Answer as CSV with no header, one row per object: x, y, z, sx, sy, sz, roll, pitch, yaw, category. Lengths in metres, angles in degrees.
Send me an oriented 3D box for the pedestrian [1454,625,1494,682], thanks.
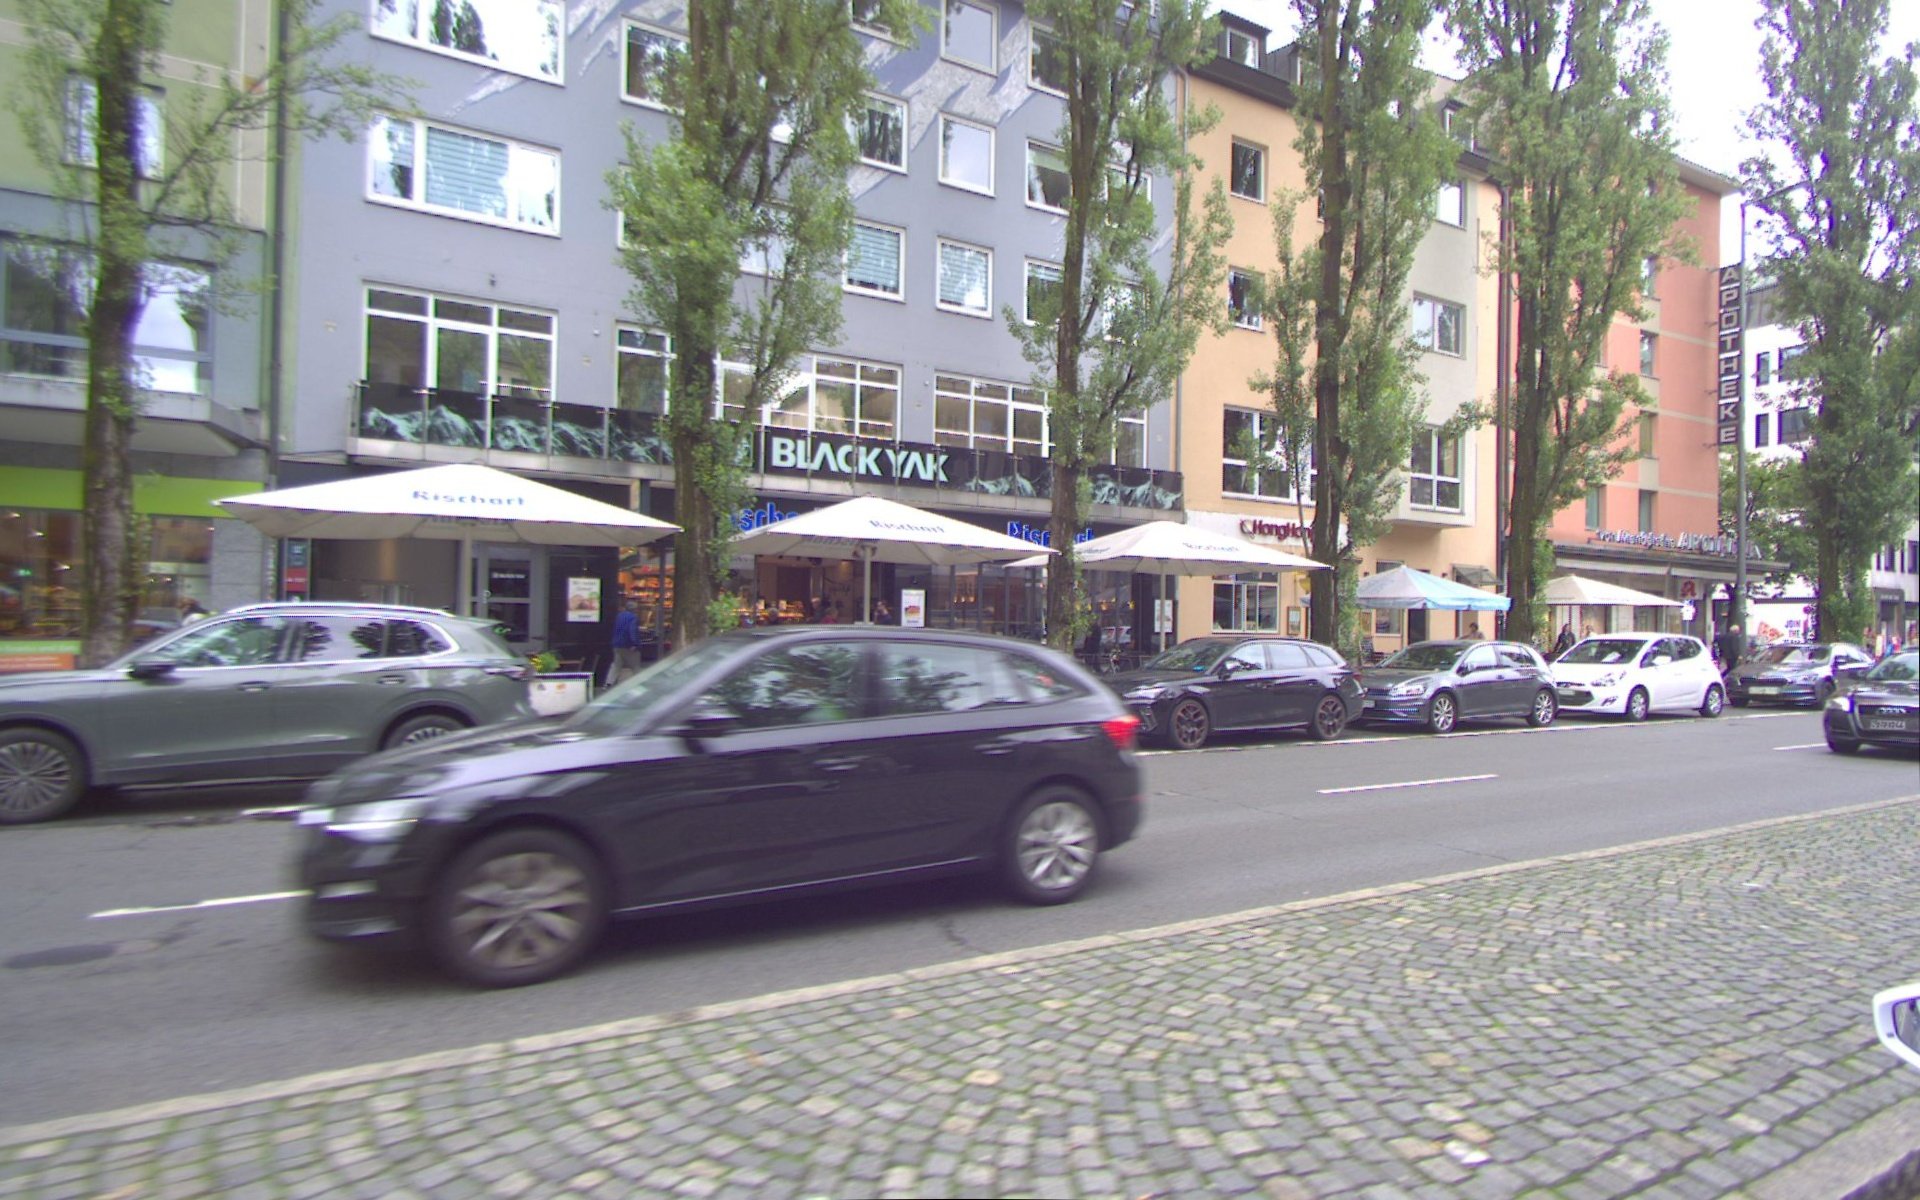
15.573,1.599,30.460,0.792,1.690,0.777,1,-1,-29,pedestrian

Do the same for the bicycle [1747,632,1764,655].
41.839,2.286,52.829,0.445,1.199,2.050,0,-2,45,bicycle

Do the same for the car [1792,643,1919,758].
13.103,1.264,13.291,4.125,1.379,1.829,1,-3,-29,car

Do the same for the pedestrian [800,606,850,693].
-2.606,0.941,19.395,0.746,1.623,0.738,1,-1,-27,pedestrian

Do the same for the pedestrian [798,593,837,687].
-3.488,0.958,24.495,0.684,2.241,0.777,1,-1,-29,pedestrian

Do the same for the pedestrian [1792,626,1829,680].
28.613,1.781,33.796,0.768,1.794,0.721,1,-1,-28,pedestrian

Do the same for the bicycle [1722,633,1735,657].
39.745,2.299,51.931,0.410,1.199,1.998,0,-1,41,bicycle

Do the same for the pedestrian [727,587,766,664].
-5.160,0.613,24.301,0.733,1.828,0.778,1,-1,-26,pedestrian

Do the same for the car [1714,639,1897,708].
19.287,1.639,22.880,4.535,1.457,1.696,2,-3,-29,car

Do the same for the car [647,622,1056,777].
-1.157,1.044,11.395,4.317,1.485,1.670,2,-3,-29,car

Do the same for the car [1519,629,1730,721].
12.718,1.392,19.192,4.046,1.604,1.696,2,-3,-29,car

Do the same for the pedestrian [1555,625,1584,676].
20.146,1.647,33.213,0.684,1.660,0.552,1,-1,-29,pedestrian

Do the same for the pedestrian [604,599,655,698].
-6.099,0.890,18.530,0.746,1.778,0.737,1,-1,-28,pedestrian

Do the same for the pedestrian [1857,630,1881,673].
36.191,2.040,39.980,0.507,1.713,0.584,1,-1,-29,pedestrian

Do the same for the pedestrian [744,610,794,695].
-3.733,1.018,19.631,0.734,1.623,0.750,1,-1,-30,pedestrian

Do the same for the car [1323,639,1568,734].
8.016,1.365,16.517,4.134,1.399,1.488,2,-3,-28,car

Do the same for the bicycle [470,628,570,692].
-8.061,1.083,18.434,1.568,1.111,0.611,2,-1,-40,bicycle

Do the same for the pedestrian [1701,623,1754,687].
22.573,1.597,29.562,0.975,1.819,0.736,2,0,-11,pedestrian

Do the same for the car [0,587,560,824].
-6.000,0.831,8.711,4.528,1.702,1.773,2,-3,-28,car

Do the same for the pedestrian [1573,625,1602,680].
20.287,1.696,32.469,0.684,1.740,0.552,1,-1,-29,pedestrian

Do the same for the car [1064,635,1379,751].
3.750,1.244,14.210,4.380,1.431,1.696,2,-3,-29,car

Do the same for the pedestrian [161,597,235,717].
-11.714,0.865,15.467,0.746,1.778,0.815,1,-1,-28,pedestrian

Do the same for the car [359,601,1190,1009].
-0.860,0.842,5.441,4.001,1.484,1.749,2,-3,-30,car

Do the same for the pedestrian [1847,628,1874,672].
35.643,1.988,39.771,0.512,1.711,0.627,2,0,-27,pedestrian

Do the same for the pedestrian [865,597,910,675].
-1.576,0.784,21.878,0.746,1.662,0.738,1,-1,-27,pedestrian

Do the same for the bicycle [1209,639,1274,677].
7.724,1.585,27.525,1.932,1.015,0.441,1,-1,-28,bicycle
